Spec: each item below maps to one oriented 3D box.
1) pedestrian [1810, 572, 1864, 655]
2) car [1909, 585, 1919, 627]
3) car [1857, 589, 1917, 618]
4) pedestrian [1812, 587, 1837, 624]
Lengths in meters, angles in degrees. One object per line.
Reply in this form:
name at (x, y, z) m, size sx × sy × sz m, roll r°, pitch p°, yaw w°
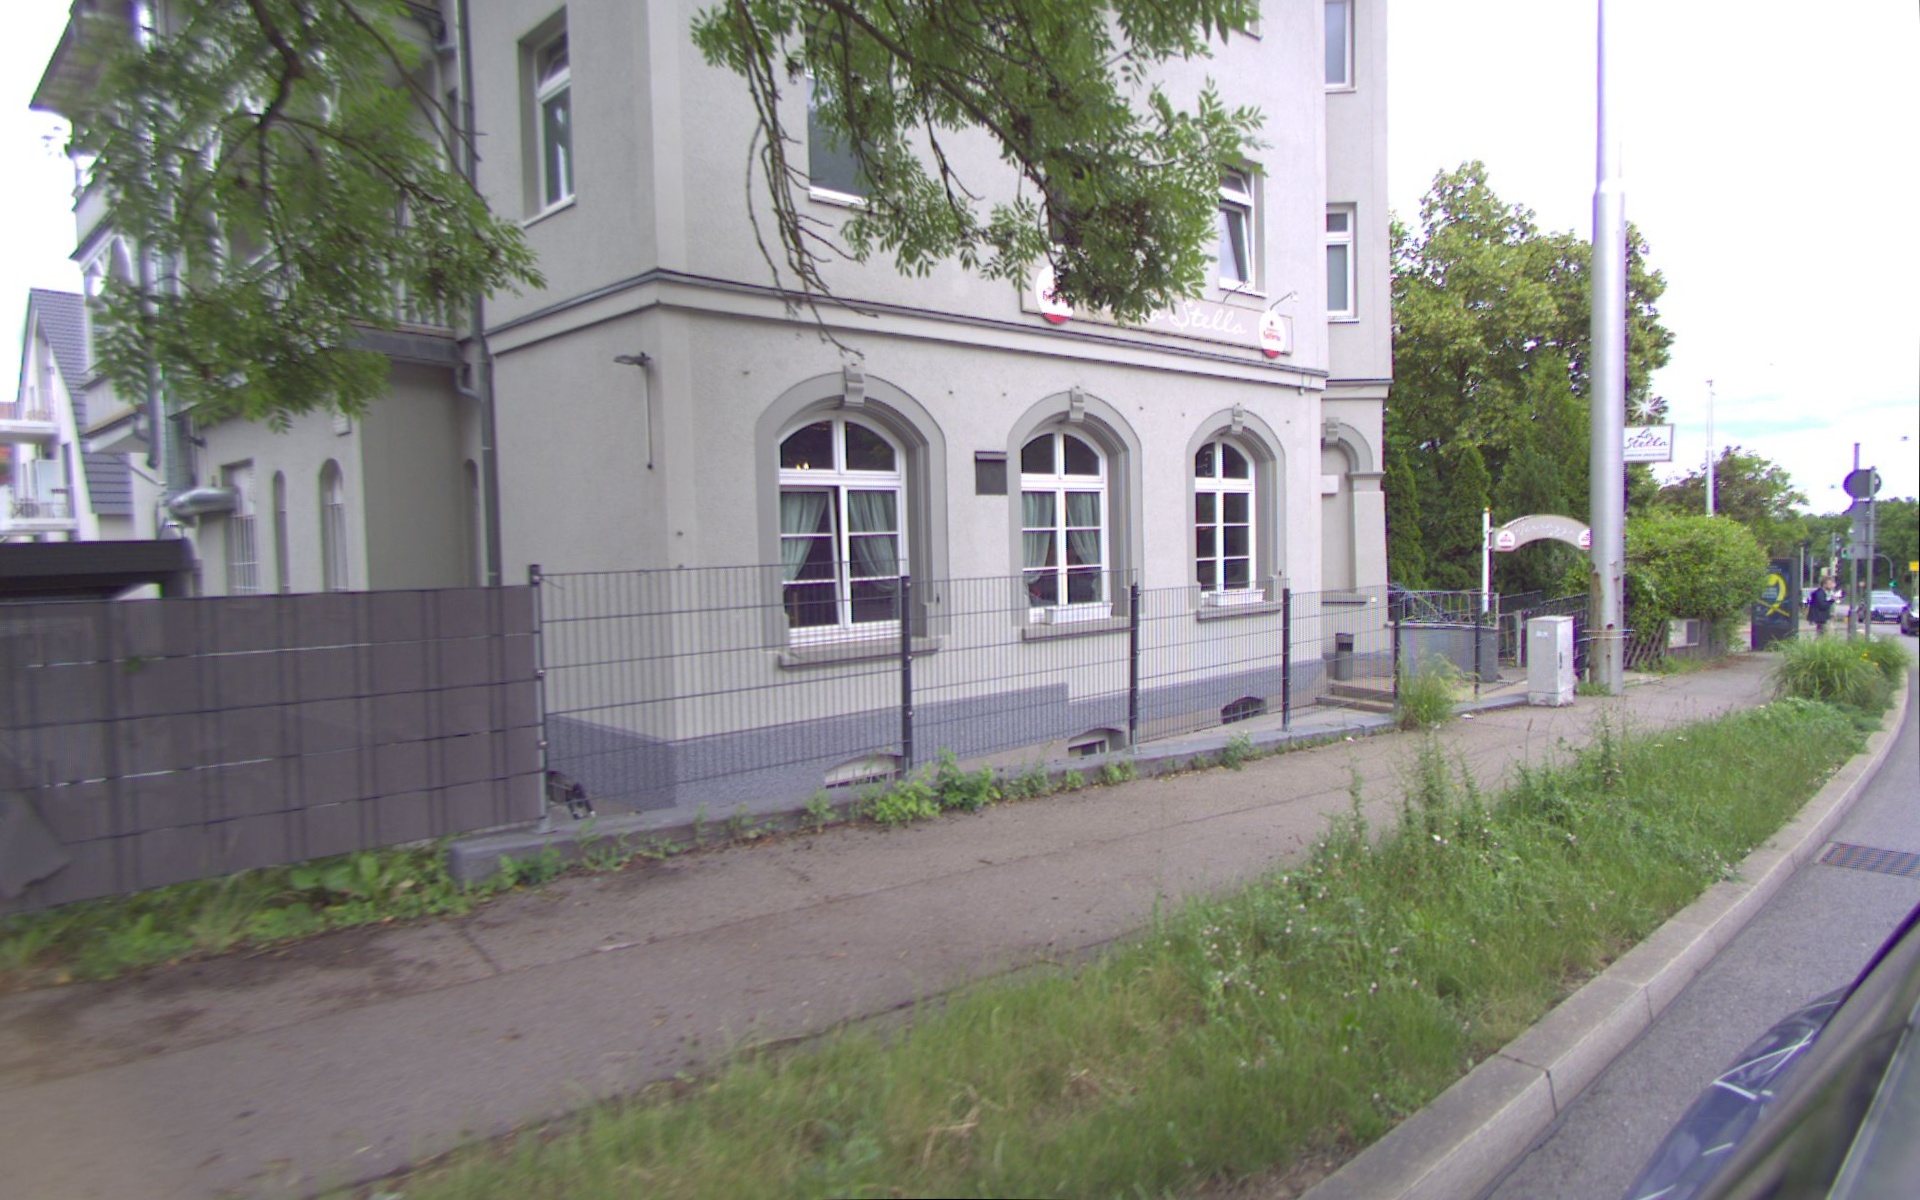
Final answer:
pedestrian at (19.852, 0.308, 22.922) m, size 0.685 × 1.857 × 0.617 m, roll -1°, pitch 0°, yaw 16°
car at (37.354, 0.247, 38.282) m, size 1.670 × 1.560 × 4.552 m, roll 2°, pitch 2°, yaw 38°
car at (47.818, 0.167, 52.264) m, size 1.798 × 1.411 × 4.228 m, roll 1°, pitch 1°, yaw 36°
pedestrian at (40.241, 0.250, 47.104) m, size 0.688 × 1.709 × 0.615 m, roll 1°, pitch 2°, yaw 25°
